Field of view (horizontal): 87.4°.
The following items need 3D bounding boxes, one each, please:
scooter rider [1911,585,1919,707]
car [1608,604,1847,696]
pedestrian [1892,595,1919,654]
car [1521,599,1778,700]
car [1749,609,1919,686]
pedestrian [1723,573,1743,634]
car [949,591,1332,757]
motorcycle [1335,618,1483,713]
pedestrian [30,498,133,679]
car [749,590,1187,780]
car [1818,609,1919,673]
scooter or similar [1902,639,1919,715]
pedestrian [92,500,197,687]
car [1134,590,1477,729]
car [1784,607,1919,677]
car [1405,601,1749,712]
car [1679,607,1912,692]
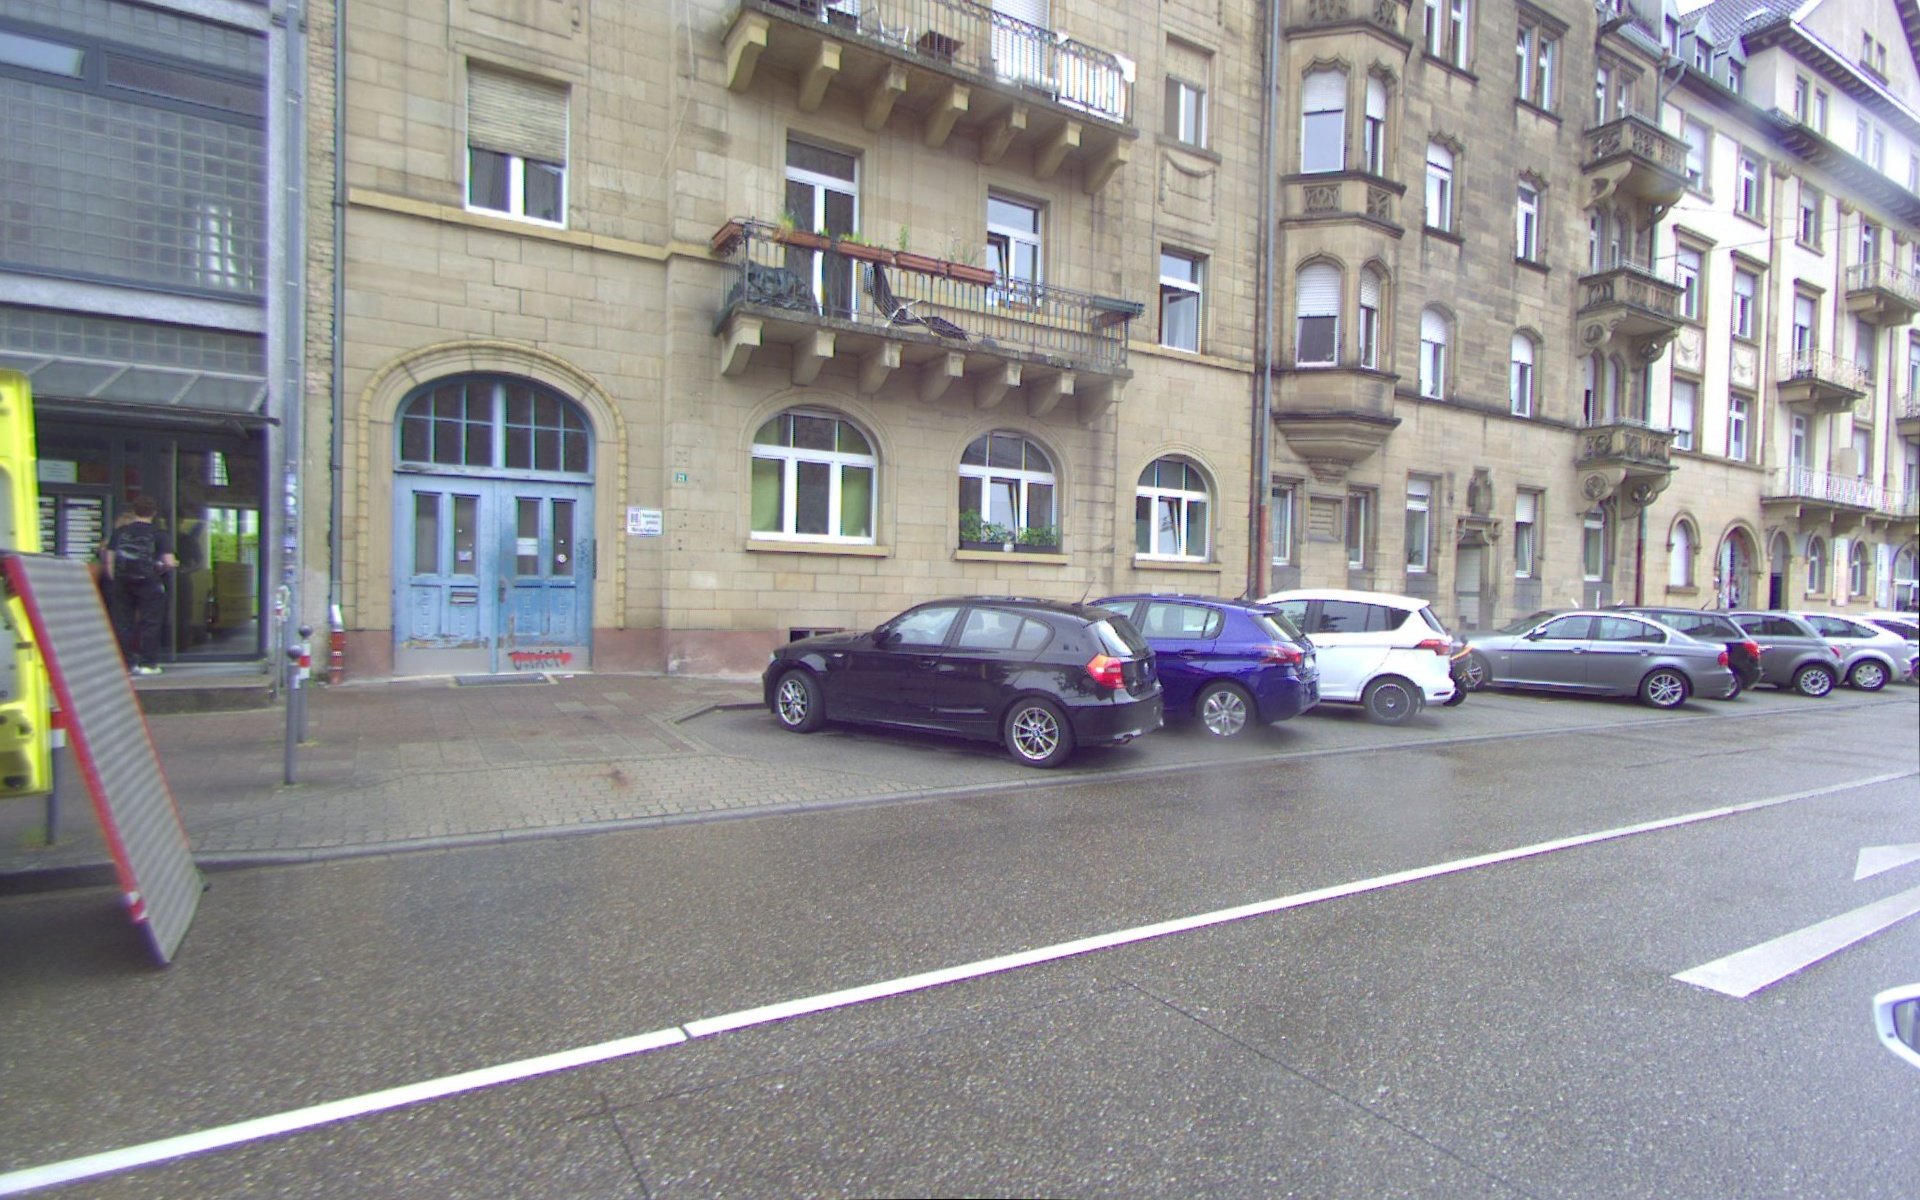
[{"bbox_3d":[15.698,0.737,15.988,0.498,1.961,0.707,1,0,-32],"label":"scooter rider"},{"bbox_3d":[14.755,0.913,19.532,3.337,1.579,1.652,1,1,22],"label":"car"},{"bbox_3d":[33.649,0.867,35.689,0.647,2.040,0.565,1,1,-30],"label":"pedestrian"},{"bbox_3d":[12.207,0.824,18.040,3.485,1.619,1.605,1,1,22],"label":"car"},{"bbox_3d":[20.094,1.034,22.558,3.337,1.579,1.705,1,1,22],"label":"car"},{"bbox_3d":[23.669,0.121,30.745,0.343,1.847,0.364,1,0,-32],"label":"pedestrian"},{"bbox_3d":[2.036,0.722,11.624,3.973,1.594,1.794,1,0,32],"label":"car"},{"bbox_3d":[6.406,0.914,14.392,1.837,1.177,0.633,4,1,24],"label":"motorcycle"},{"bbox_3d":[-8.816,-0.109,10.094,0.594,1.771,0.475,0,0,-4],"label":"pedestrian"},{"bbox_3d":[0.055,0.695,9.984,3.969,1.532,1.796,1,0,28],"label":"car"},{"bbox_3d":[24.727,1.054,26.043,3.337,1.579,1.705,1,1,22],"label":"car"},{"bbox_3d":[15.693,1.227,15.986,1.370,1.181,0.697,1,0,-32],"label":"scooter or similar"},{"bbox_3d":[-8.156,-0.064,10.072,0.781,1.751,0.997,0,1,-39],"label":"pedestrian"},{"bbox_3d":[4.428,0.693,13.191,3.964,1.576,1.798,1,0,20],"label":"car"},{"bbox_3d":[22.265,0.993,24.192,3.337,1.579,1.705,1,1,22],"label":"car"},{"bbox_3d":[9.785,0.835,16.345,4.457,1.566,1.689,1,0,18],"label":"car"},{"bbox_3d":[17.317,0.968,21.006,3.337,1.579,1.705,1,1,22],"label":"car"}]
